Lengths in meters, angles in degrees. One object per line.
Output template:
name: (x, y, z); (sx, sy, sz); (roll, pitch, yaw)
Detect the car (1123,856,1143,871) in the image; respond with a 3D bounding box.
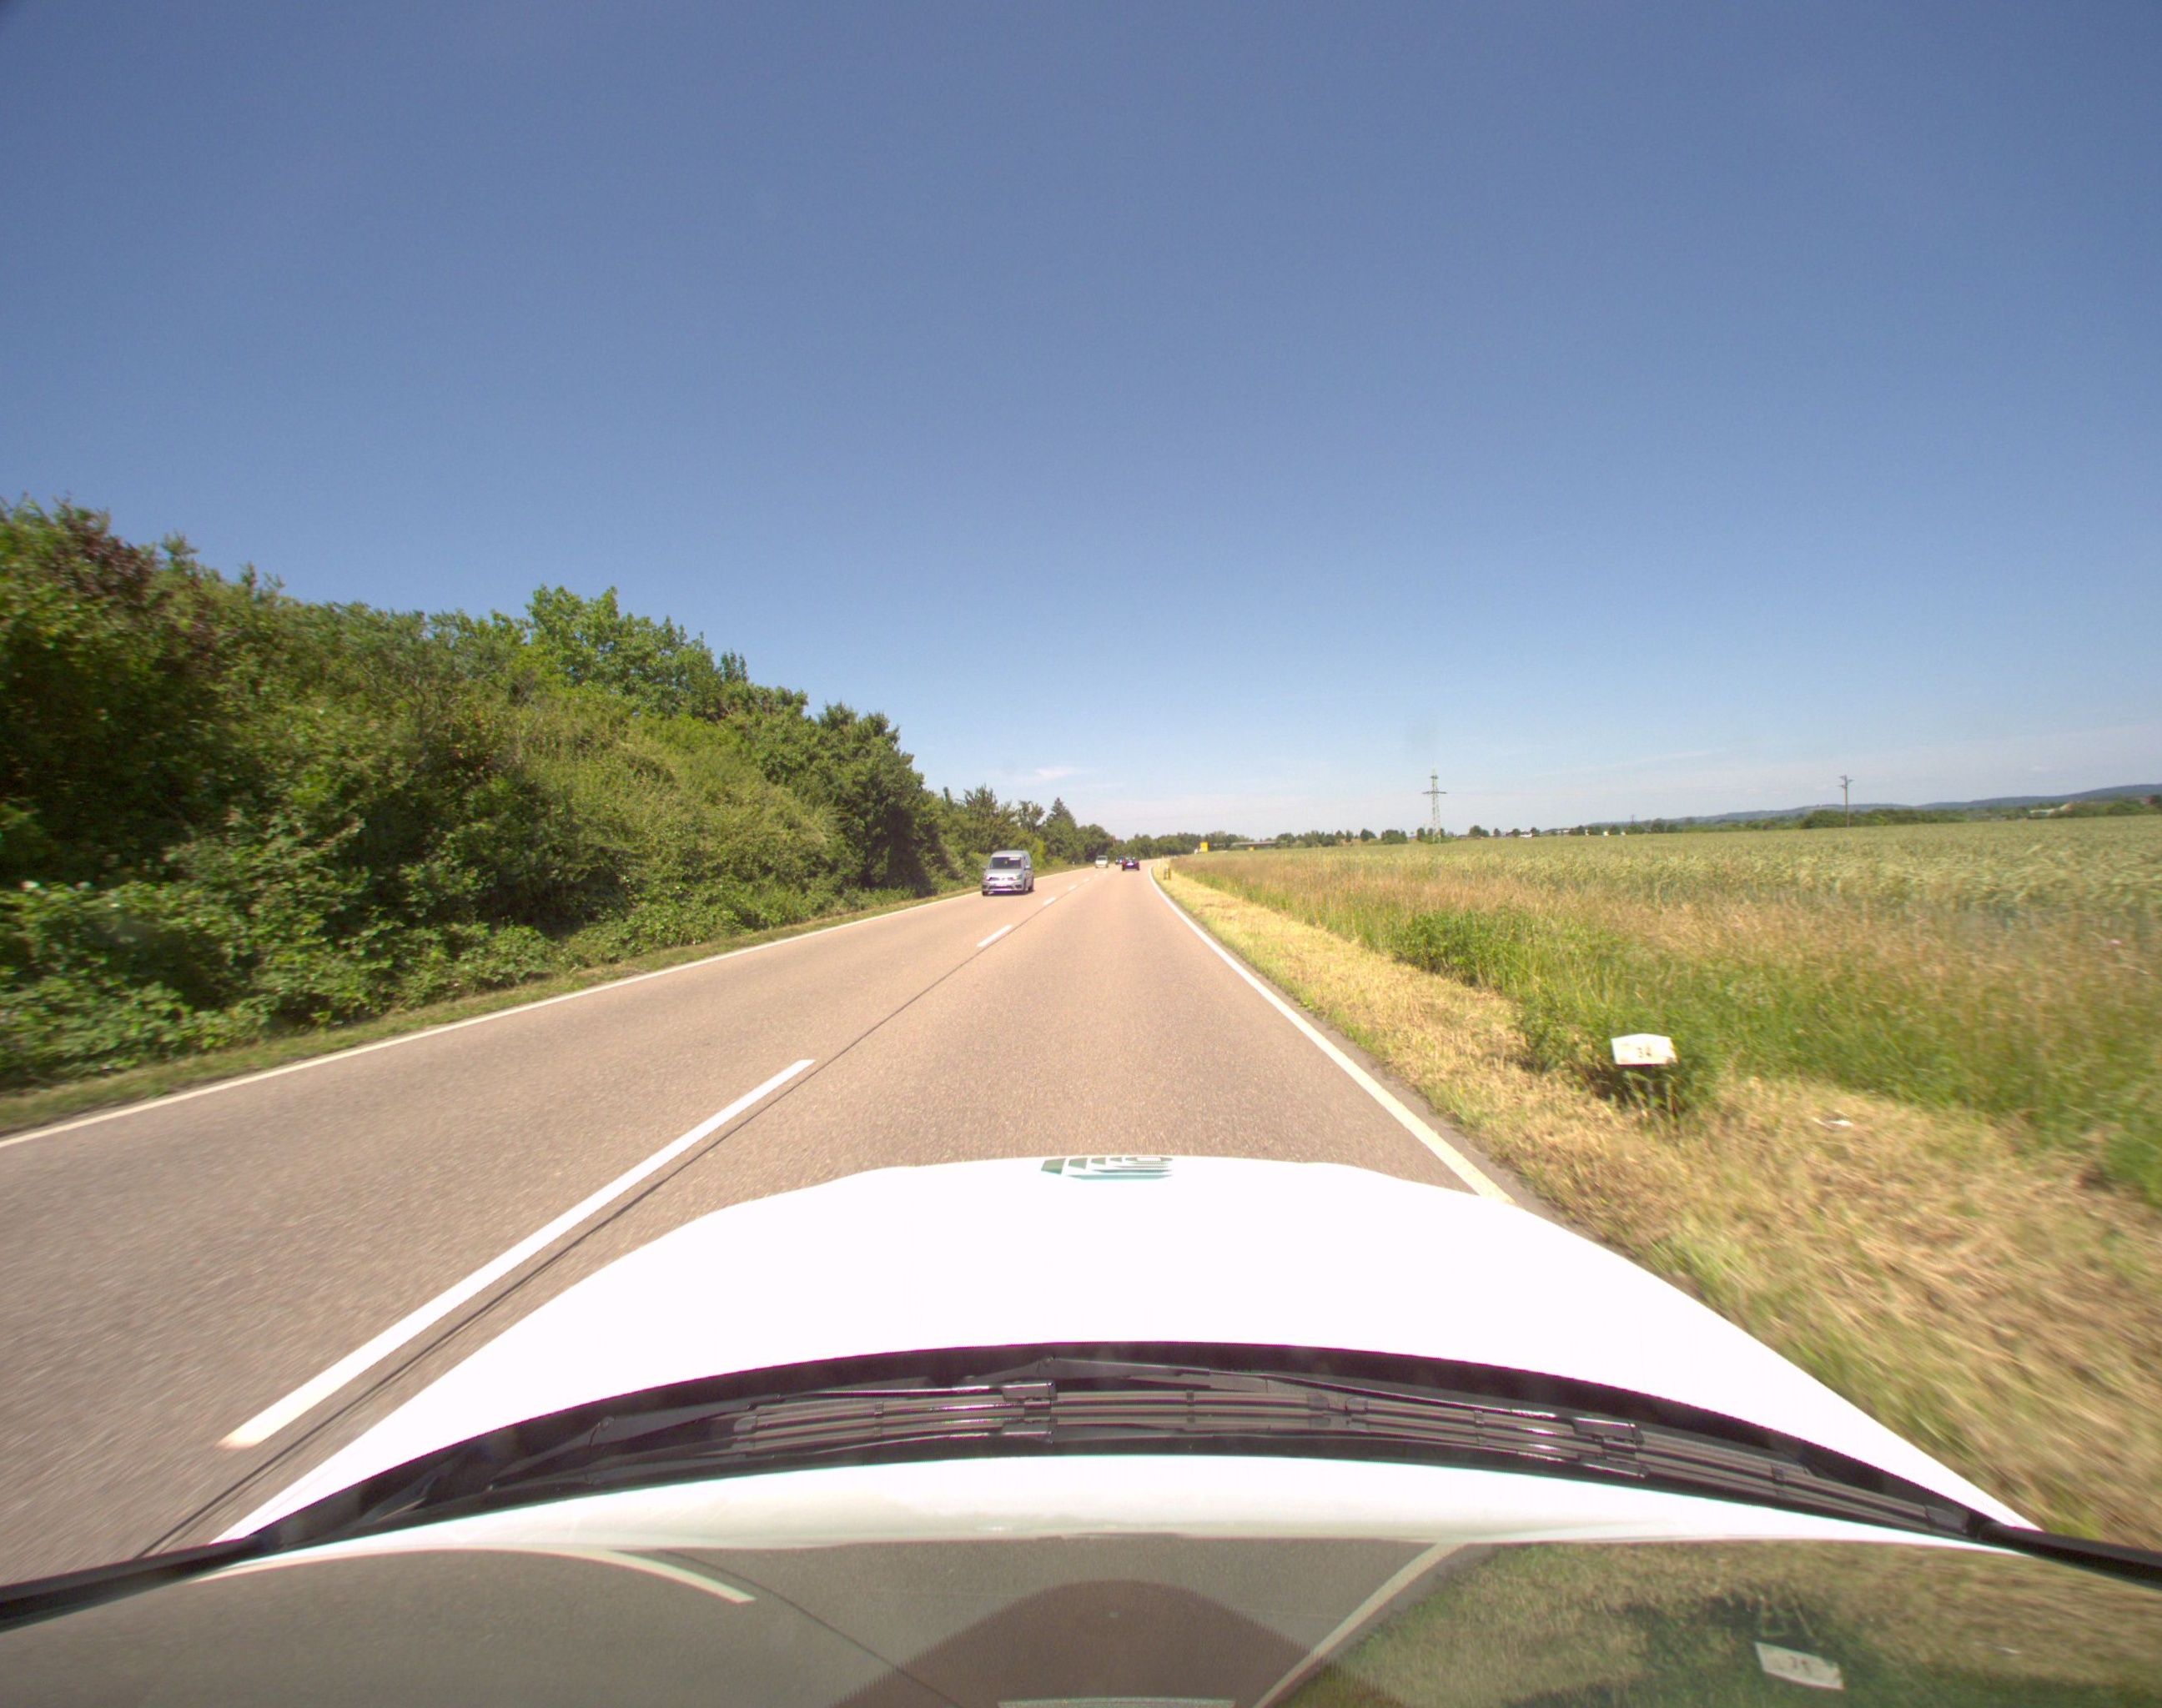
car: (5.240, 0.912, 81.988); (1.805, 1.441, 4.007); (-1, 0, 7)

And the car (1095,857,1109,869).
car: (2.689, 1.164, 103.952); (1.489, 1.495, 3.837); (-1, 0, 5)

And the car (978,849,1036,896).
car: (-3.063, 0.744, 34.635); (1.756, 1.819, 4.806); (-1, 0, 2)

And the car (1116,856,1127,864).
car: (6.859, 1.002, 137.036); (1.793, 1.450, 4.537); (-1, 0, 3)
